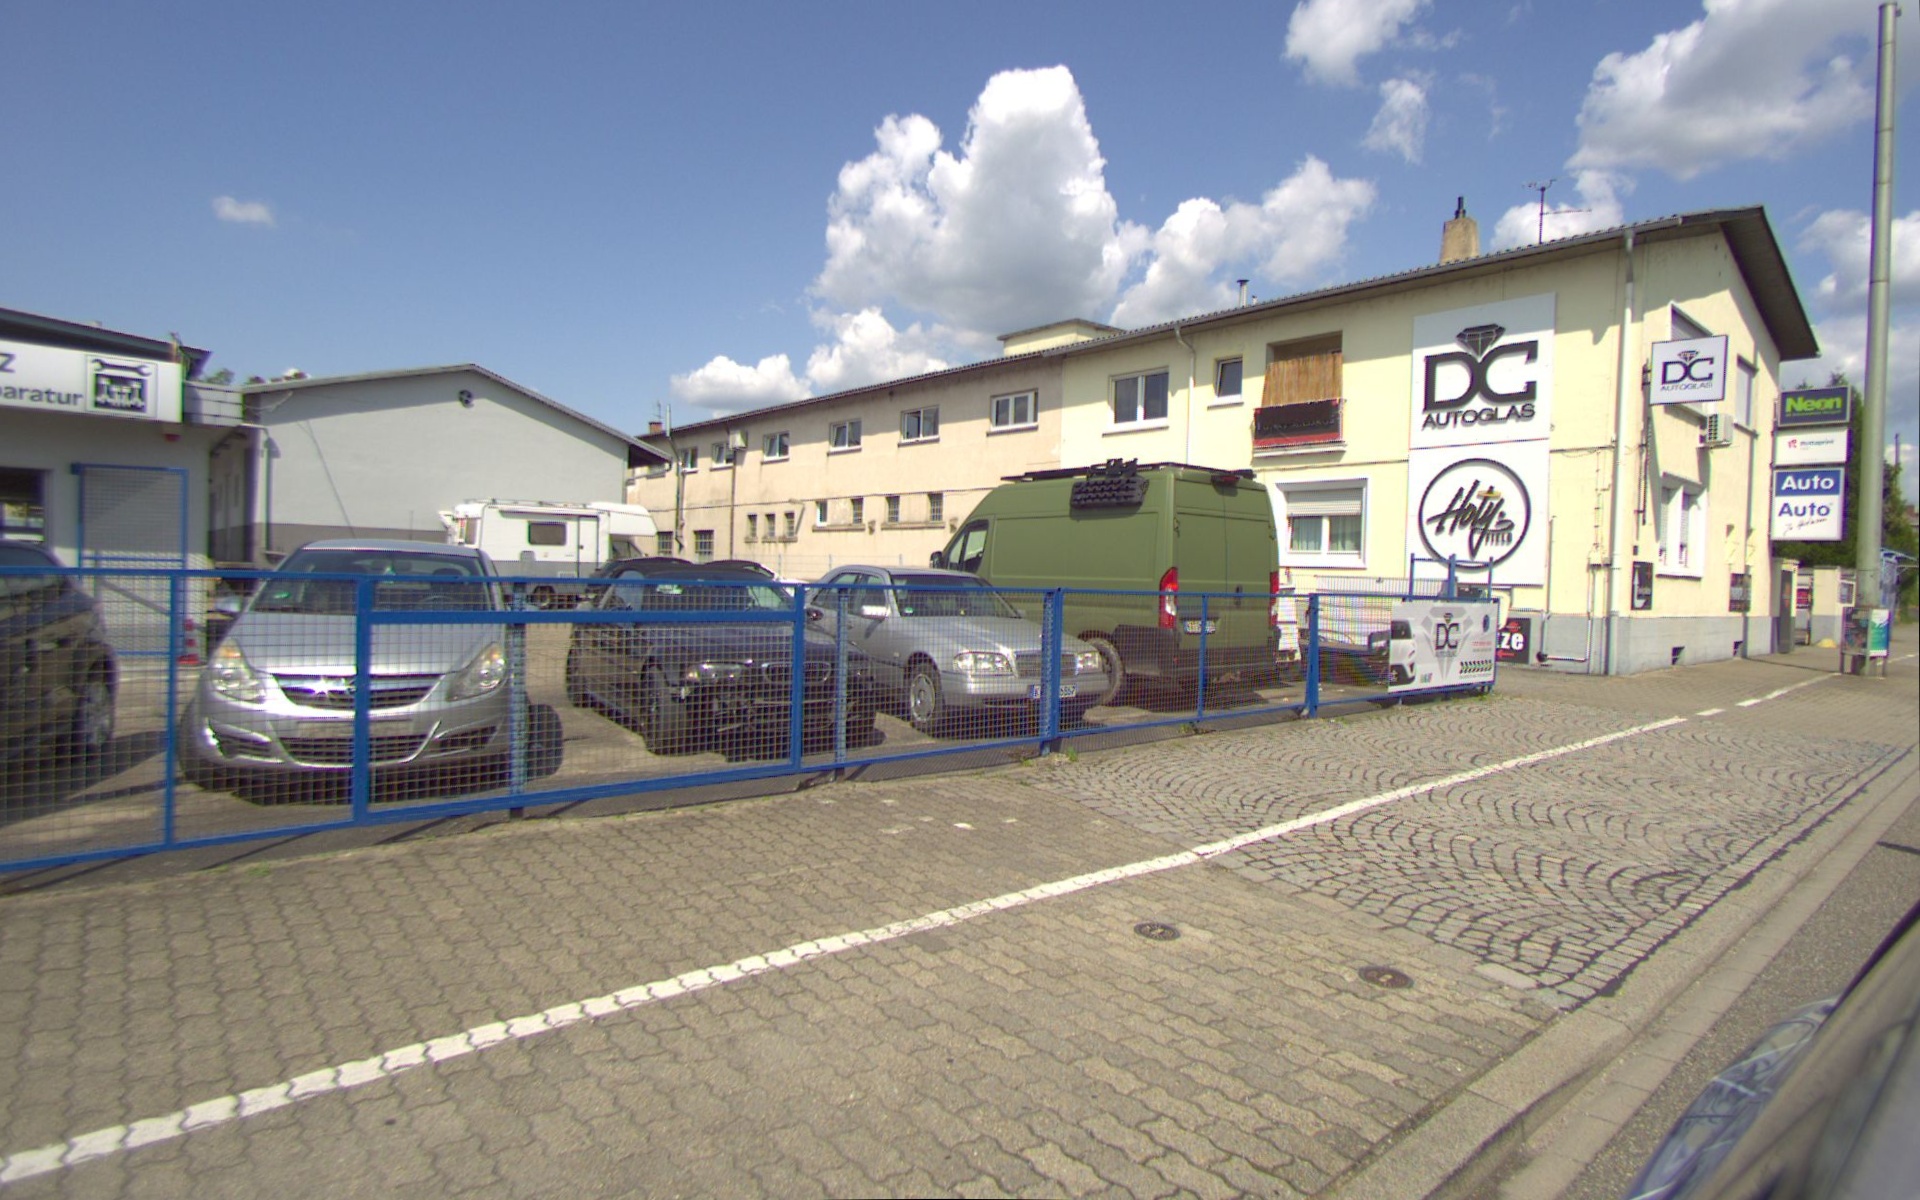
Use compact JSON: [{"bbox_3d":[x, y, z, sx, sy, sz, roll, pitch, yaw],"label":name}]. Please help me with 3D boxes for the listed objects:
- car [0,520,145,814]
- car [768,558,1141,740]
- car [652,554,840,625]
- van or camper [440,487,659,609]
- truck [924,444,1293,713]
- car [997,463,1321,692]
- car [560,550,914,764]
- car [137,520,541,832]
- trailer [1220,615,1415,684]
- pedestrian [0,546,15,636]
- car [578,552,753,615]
[{"bbox_3d":[-5.751,0.321,5.035,1.685,1.497,4.012,1,2,-25],"label":"car"},{"bbox_3d":[-0.300,0.317,10.207,1.768,1.413,4.216,1,2,-33],"label":"car"},{"bbox_3d":[-4.911,-0.247,23.497,3.939,1.497,1.719,0,2,-41],"label":"car"},{"bbox_3d":[-11.013,-1.325,27.369,4.971,2.999,2.284,0,2,-42],"label":"van or camper"},{"bbox_3d":[1.619,-0.287,12.147,2.033,2.639,3.996,1,2,-40],"label":"truck"},{"bbox_3d":[2.608,-0.348,14.144,1.771,2.702,4.208,1,2,-40],"label":"car"},{"bbox_3d":[-2.129,0.307,8.747,1.768,1.403,3.837,1,2,-32],"label":"car"},{"bbox_3d":[-3.955,0.300,7.103,1.766,1.497,4.158,1,2,-24],"label":"car"},{"bbox_3d":[5.078,0.667,14.530,1.245,0.776,2.330,0,2,-39],"label":"trailer"},{"bbox_3d":[-13.263,-0.130,13.841,0.479,1.228,0.501,1,1,-42],"label":"pedestrian"},{"bbox_3d":[-7.484,-0.412,25.890,3.939,1.497,1.719,0,2,-41],"label":"car"}]
